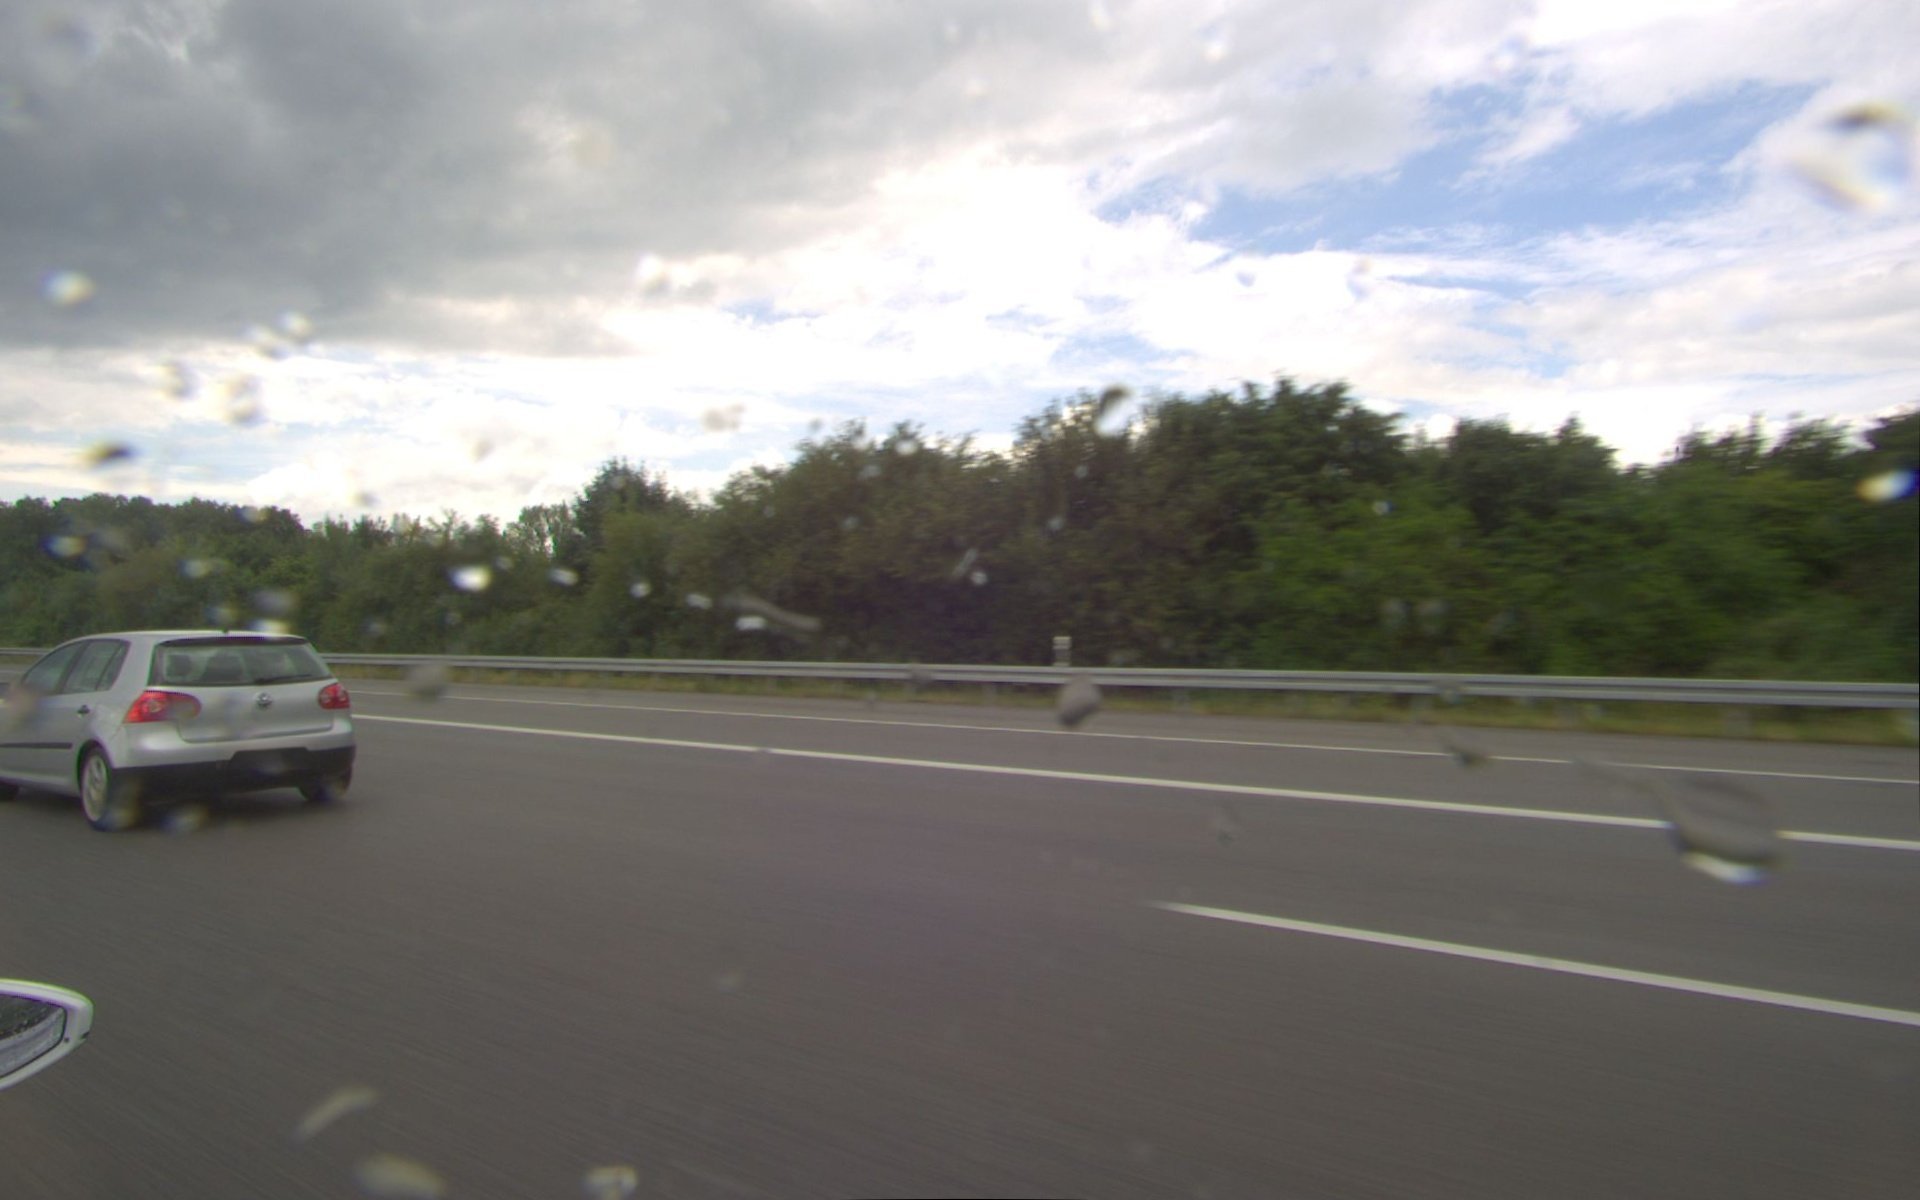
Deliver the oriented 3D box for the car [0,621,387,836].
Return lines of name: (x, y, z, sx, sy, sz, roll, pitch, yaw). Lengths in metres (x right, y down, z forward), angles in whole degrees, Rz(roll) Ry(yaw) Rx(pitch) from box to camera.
car: (-7.018, 0.943, 8.802, 3.980, 1.496, 1.792, -1, -1, 32)
